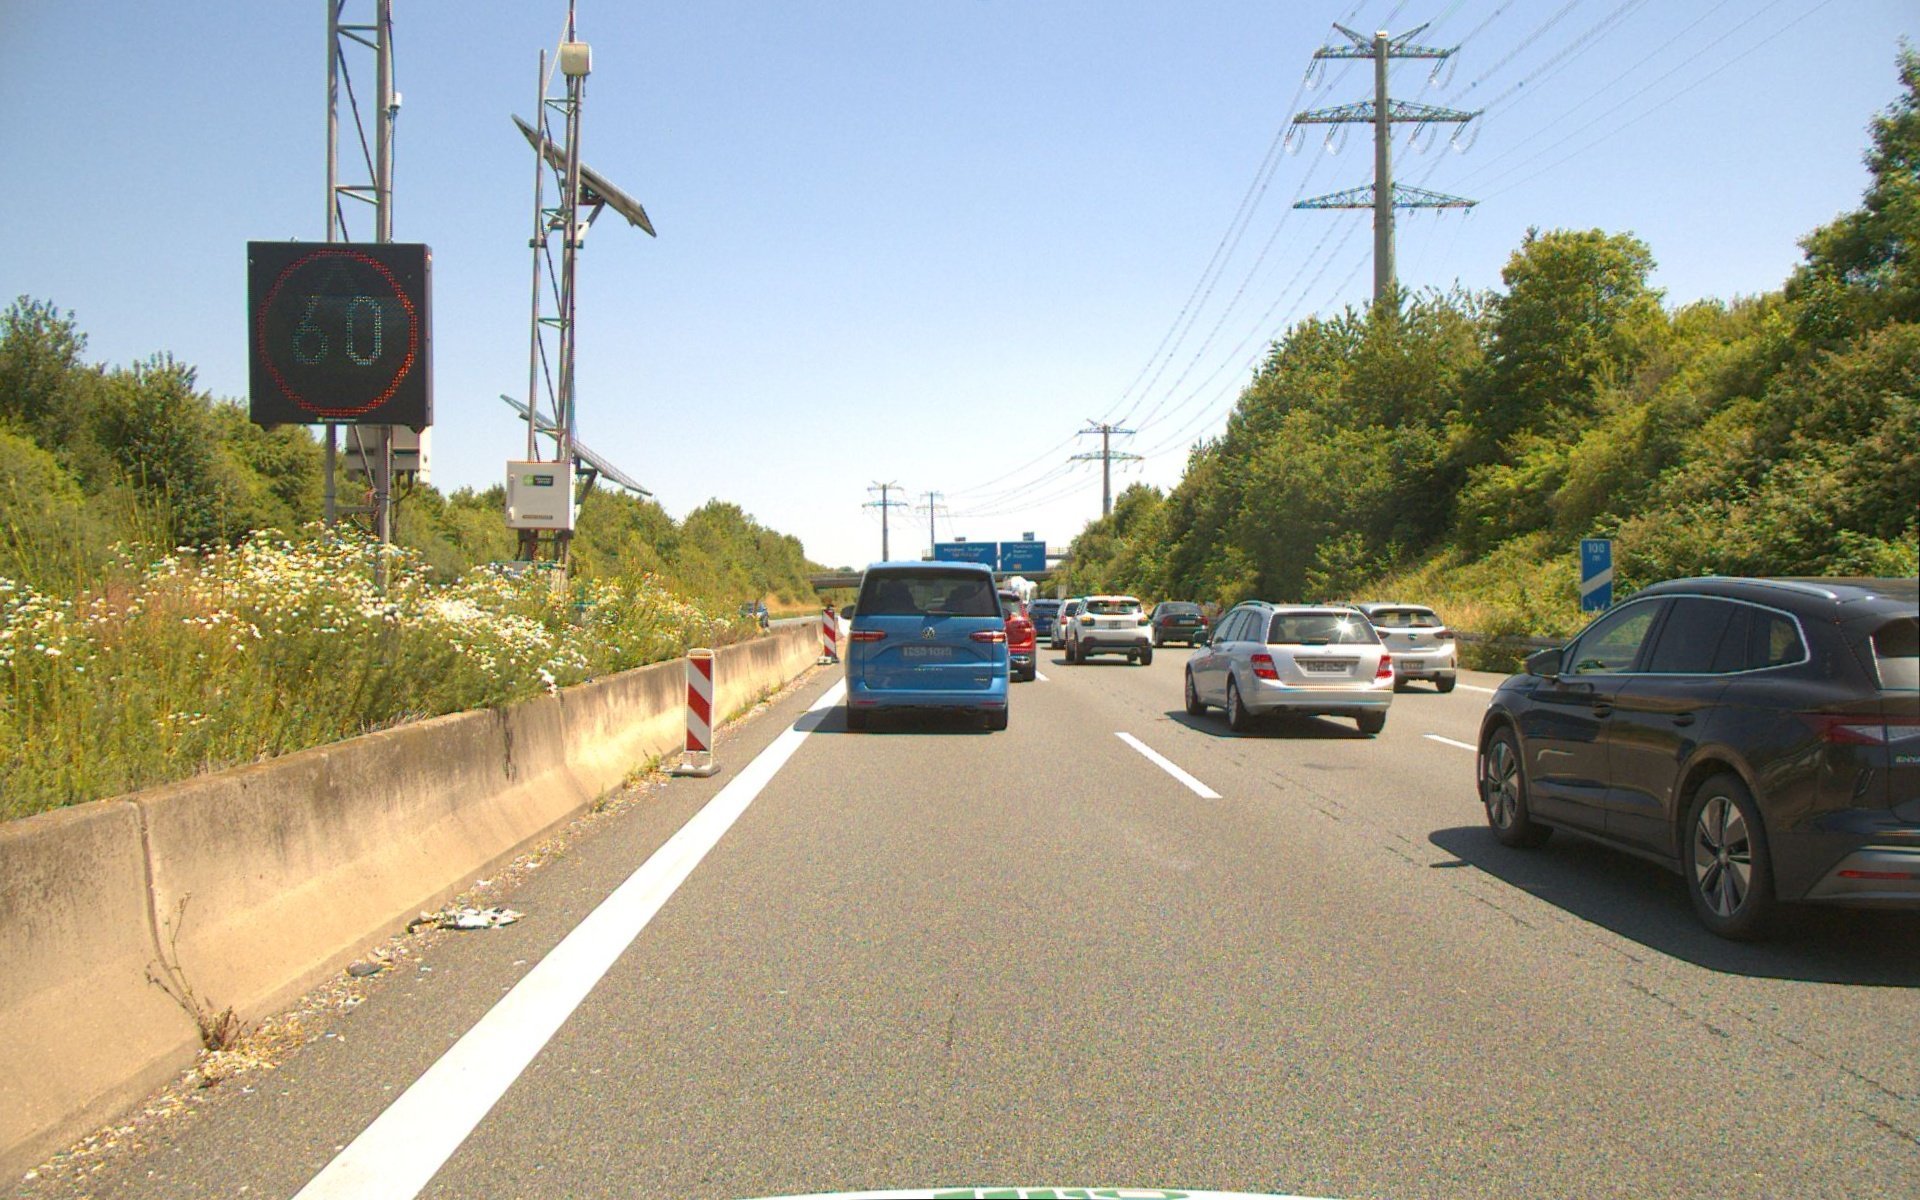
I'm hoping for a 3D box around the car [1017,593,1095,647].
[{"bbox_3d":[2.875,0.592,50.427,1.870,1.542,4.381,1,0,-3],"label":"car"}]

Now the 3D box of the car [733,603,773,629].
[{"bbox_3d":[-12.929,0.982,103.393,1.953,1.573,4.911,-1,0,-1],"label":"car"}]

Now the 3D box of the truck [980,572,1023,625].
[{"bbox_3d":[2.251,-0.092,91.022,1.953,2.771,5.677,1,0,-2],"label":"truck"}]

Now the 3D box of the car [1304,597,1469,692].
[{"bbox_3d":[7.270,0.710,28.553,1.706,1.496,4.013,1,0,-2],"label":"car"}]

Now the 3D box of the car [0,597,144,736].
[{"bbox_3d":[-11.134,0.711,18.668,1.647,1.468,4.466,1,0,-1],"label":"car"}]

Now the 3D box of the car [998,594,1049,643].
[{"bbox_3d":[2.784,0.801,72.789,1.953,2.049,3.999,1,0,-2],"label":"car"}]

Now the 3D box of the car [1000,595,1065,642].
[{"bbox_3d":[2.516,0.616,58.263,1.870,1.542,4.381,1,0,-3],"label":"car"}]

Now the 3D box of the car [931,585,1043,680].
[{"bbox_3d":[0.444,0.572,31.343,1.870,1.659,4.381,0,0,-2],"label":"car"}]

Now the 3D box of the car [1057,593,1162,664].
[{"bbox_3d":[3.436,0.633,38.698,1.870,1.534,3.919,1,0,-3],"label":"car"}]

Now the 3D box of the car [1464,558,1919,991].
[{"bbox_3d":[4.245,0.671,8.542,1.791,1.643,4.429,1,0,-2],"label":"car"}]

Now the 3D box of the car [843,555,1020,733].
[{"bbox_3d":[-0.459,0.478,20.167,1.834,1.912,4.379,1,0,-5],"label":"car"}]

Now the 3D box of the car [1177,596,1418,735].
[{"bbox_3d":[3.920,0.698,19.955,1.785,1.462,4.381,1,0,-3],"label":"car"}]

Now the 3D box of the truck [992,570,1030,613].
[{"bbox_3d":[5.124,-0.890,169.443,2.591,4.143,16.433,1,0,-2],"label":"truck"}]

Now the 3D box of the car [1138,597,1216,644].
[{"bbox_3d":[6.845,0.623,52.579,1.700,1.402,4.299,1,0,-3],"label":"car"}]
